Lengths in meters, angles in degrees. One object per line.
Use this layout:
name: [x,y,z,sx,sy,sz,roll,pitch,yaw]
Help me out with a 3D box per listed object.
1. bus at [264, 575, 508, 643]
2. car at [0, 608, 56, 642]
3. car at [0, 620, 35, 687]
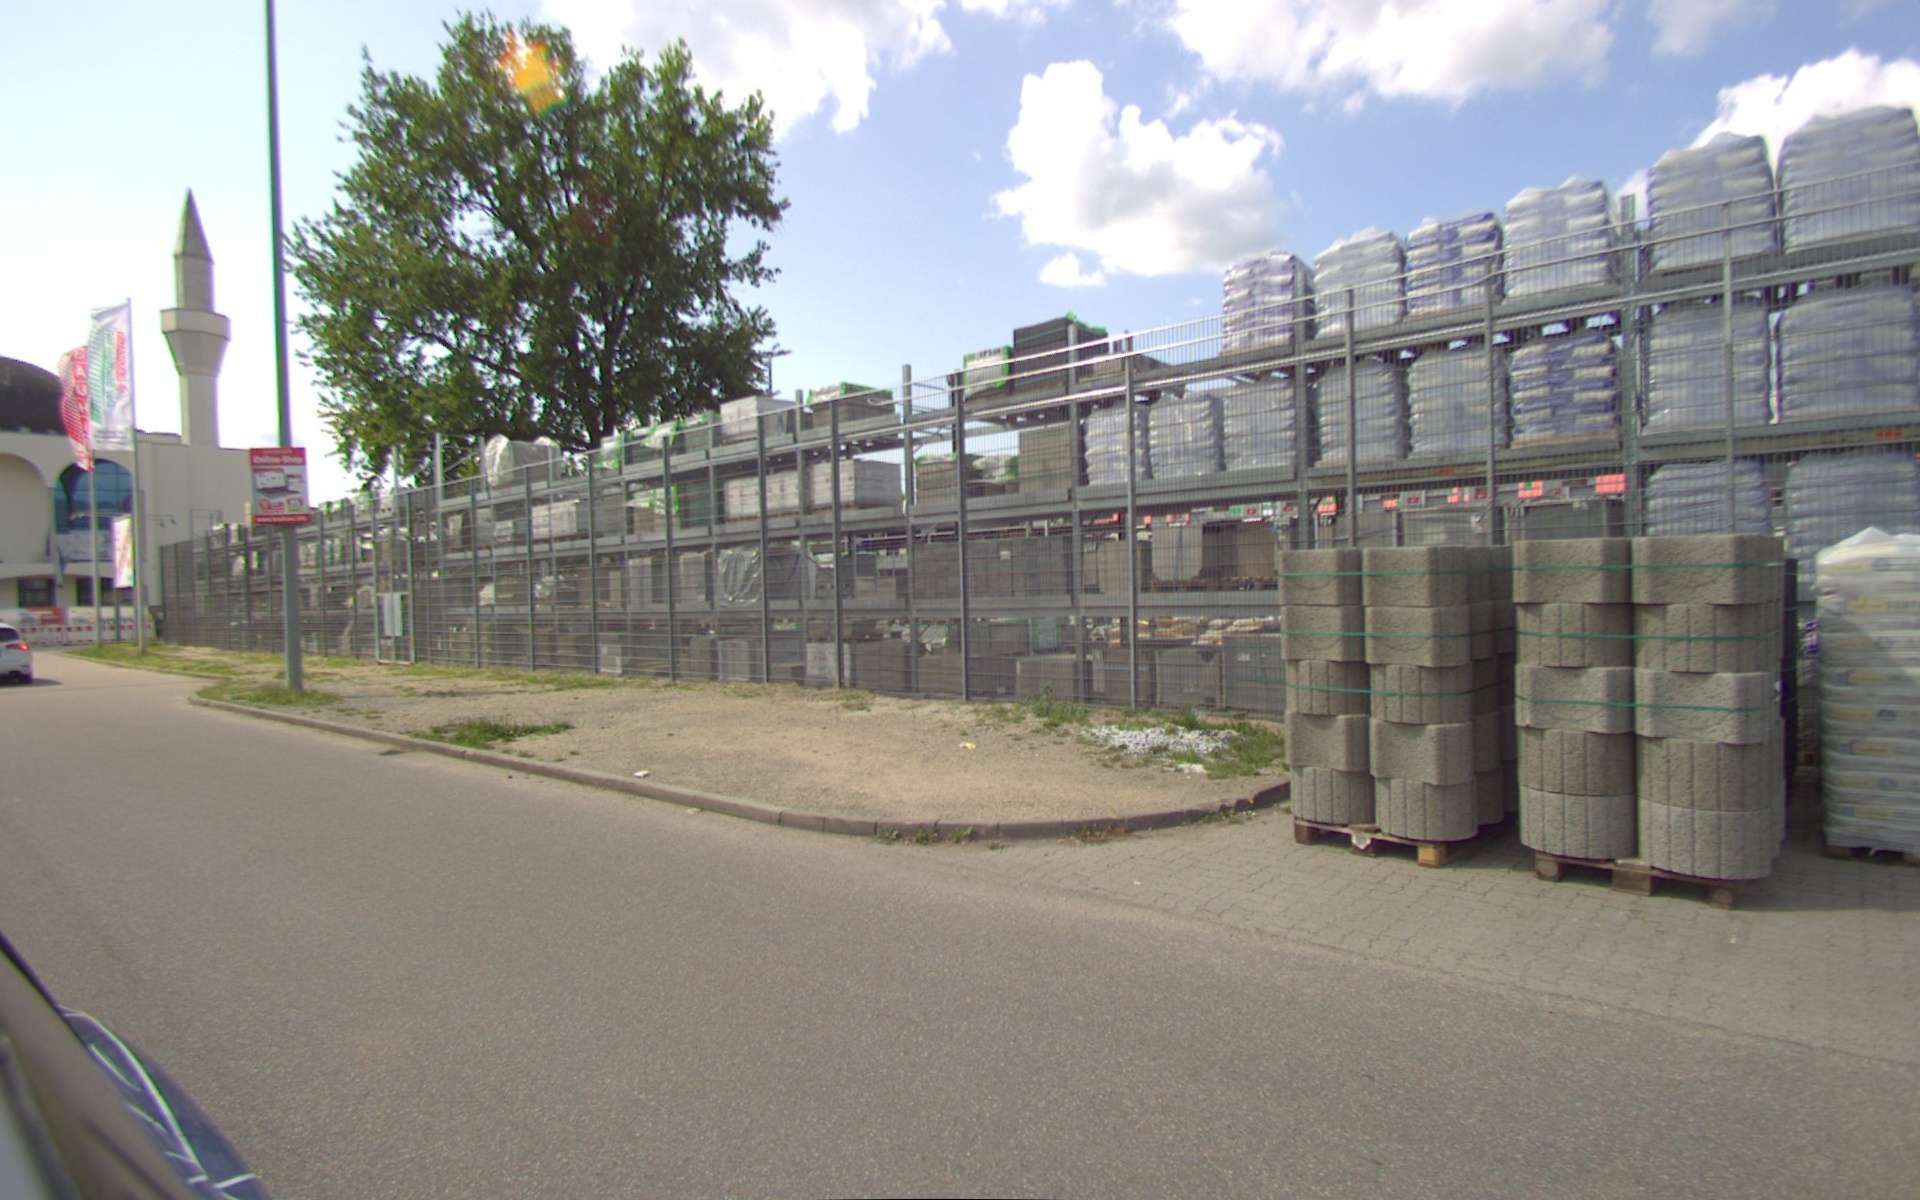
bus: [-31.440,0.370,56.147,2.893,3.389,11.408,-1,0,42]
car: [-46.355,1.235,48.665,1.791,1.521,4.135,-1,0,42]
car: [-23.456,1.273,23.987,4.327,1.475,1.785,-2,0,42]
